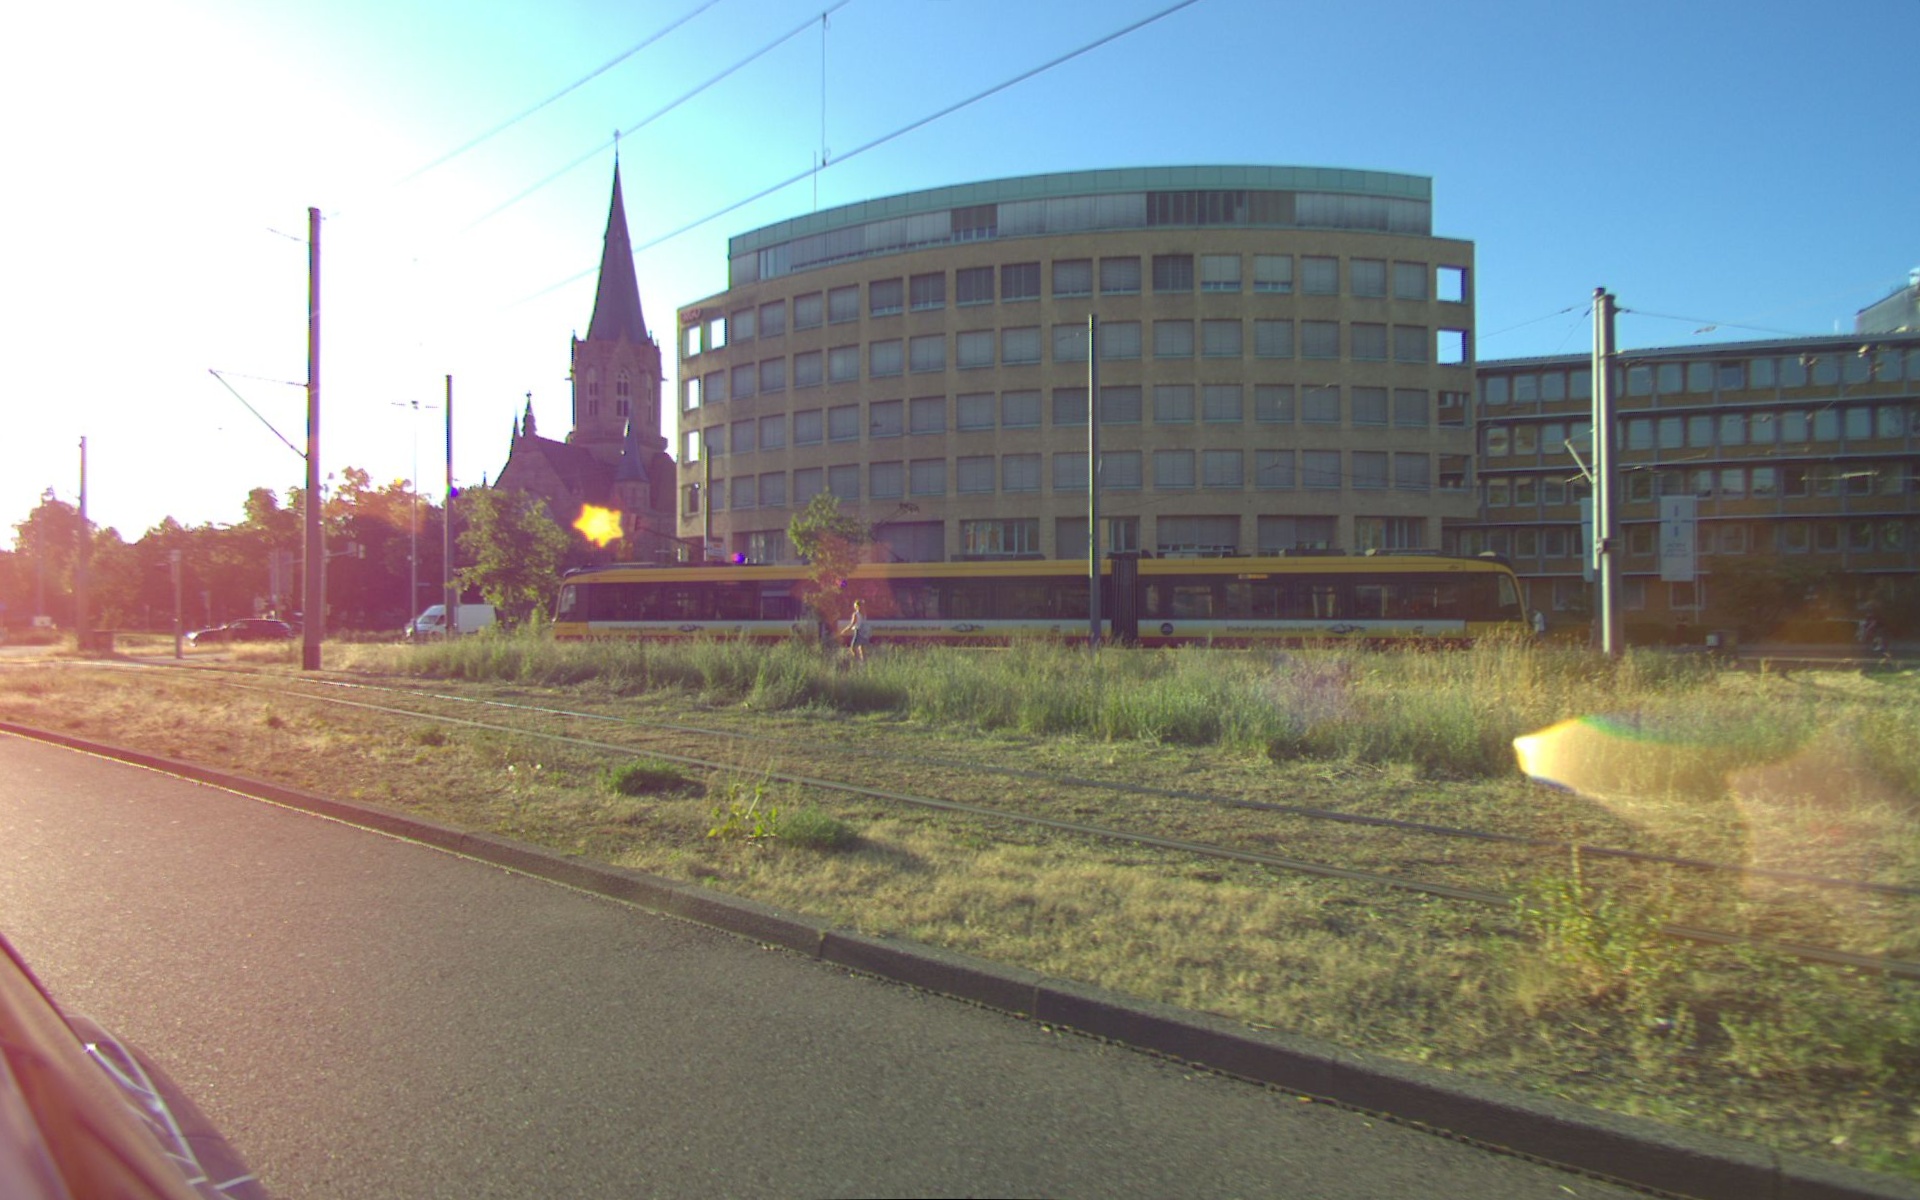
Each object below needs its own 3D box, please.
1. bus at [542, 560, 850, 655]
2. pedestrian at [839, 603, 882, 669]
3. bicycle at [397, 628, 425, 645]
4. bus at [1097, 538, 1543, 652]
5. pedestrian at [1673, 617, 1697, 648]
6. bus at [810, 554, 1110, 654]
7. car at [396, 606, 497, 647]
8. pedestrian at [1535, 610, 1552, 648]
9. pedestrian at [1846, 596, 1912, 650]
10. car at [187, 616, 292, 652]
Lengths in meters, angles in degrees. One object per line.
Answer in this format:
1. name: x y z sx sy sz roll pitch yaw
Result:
1. bus: -10.760 0.376 41.265 12.029 3.482 3.740 -1 0 18
2. pedestrian: -2.299 0.821 23.347 0.698 1.470 0.664 -2 -1 38
3. bicycle: -40.500 2.716 74.710 0.487 1.191 1.957 -1 0 22
4. bus: 11.714 -0.053 34.612 13.587 3.388 3.742 -1 0 16
5. pedestrian: 31.966 1.417 44.632 0.677 1.334 0.565 -1 -1 13
6. bus: 0.052 0.207 37.990 10.641 3.356 3.741 -1 0 16
7. car: -38.014 1.936 75.143 2.290 2.900 7.157 -1 -1 19
8. pedestrian: 26.567 1.301 46.056 0.615 1.705 0.526 -1 -1 27
9. pedestrian: 36.389 0.910 40.108 1.623 2.110 1.051 -1 -1 23
10. car: -33.759 1.569 47.565 3.933 1.554 2.005 -1 0 -34
